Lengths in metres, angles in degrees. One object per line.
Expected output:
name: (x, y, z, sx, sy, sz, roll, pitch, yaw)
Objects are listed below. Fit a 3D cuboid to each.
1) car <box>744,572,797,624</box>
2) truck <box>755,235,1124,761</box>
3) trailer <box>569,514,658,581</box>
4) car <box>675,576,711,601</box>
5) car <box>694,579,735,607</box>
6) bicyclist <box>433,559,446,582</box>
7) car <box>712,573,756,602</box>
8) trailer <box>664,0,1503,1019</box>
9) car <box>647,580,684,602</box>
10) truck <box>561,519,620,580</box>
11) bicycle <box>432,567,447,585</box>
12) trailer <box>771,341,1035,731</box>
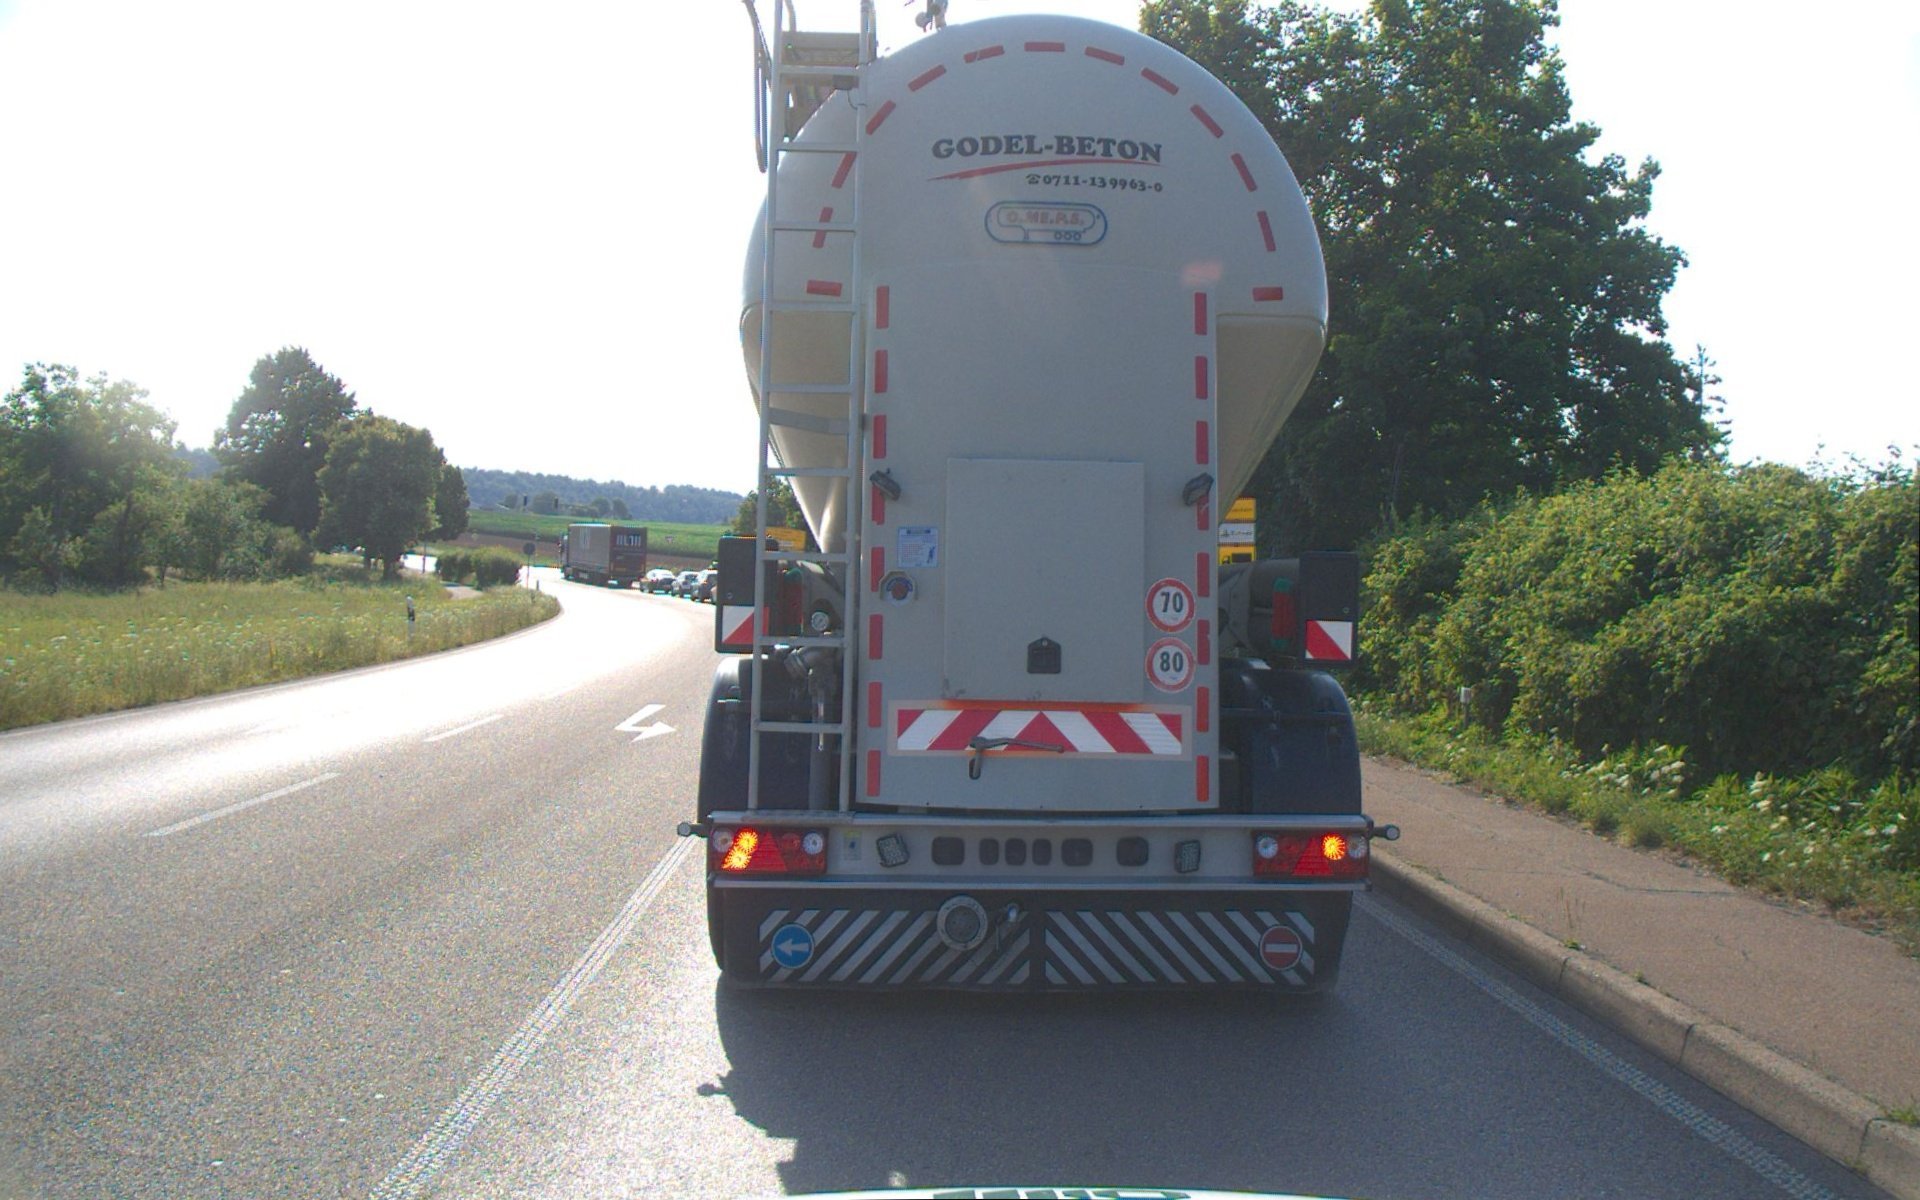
car: (-7.714, -0.098, 67.024, 1.828, 2.049, 3.709, 1, 0, -11)
truck: (-0.327, -0.788, 15.026, 2.853, 4.076, 4.055, 1, 0, -5)
trailer: (-25.124, -3.709, 119.219, 3.331, 4.426, 14.190, 2, 0, -23)
car: (-15.441, -0.664, 95.597, 1.556, 1.364, 3.408, 2, 0, -18)
car: (-13.008, -0.366, 87.443, 1.556, 1.364, 3.408, 2, 0, -18)
bicyclist: (-33.295, -1.899, 105.784, 0.623, 1.444, 0.689, 3, 0, -9)
car: (-11.137, -0.628, 81.298, 1.556, 1.364, 3.408, 2, 0, -18)
trailer: (0.050, -0.645, 10.597, 2.853, 4.076, 9.920, 1, 0, -5)
car: (-18.140, -0.571, 101.793, 1.742, 1.227, 3.408, 1, 1, -18)
truck: (-28.345, -3.847, 126.704, 3.331, 4.426, 5.664, 2, 0, -24)
bicycle: (-33.330, -1.524, 105.874, 0.623, 1.093, 1.667, 3, 0, -9)
trailer: (-0.730, -0.780, 26.179, 2.895, 4.390, 14.173, 2, 0, -1)
